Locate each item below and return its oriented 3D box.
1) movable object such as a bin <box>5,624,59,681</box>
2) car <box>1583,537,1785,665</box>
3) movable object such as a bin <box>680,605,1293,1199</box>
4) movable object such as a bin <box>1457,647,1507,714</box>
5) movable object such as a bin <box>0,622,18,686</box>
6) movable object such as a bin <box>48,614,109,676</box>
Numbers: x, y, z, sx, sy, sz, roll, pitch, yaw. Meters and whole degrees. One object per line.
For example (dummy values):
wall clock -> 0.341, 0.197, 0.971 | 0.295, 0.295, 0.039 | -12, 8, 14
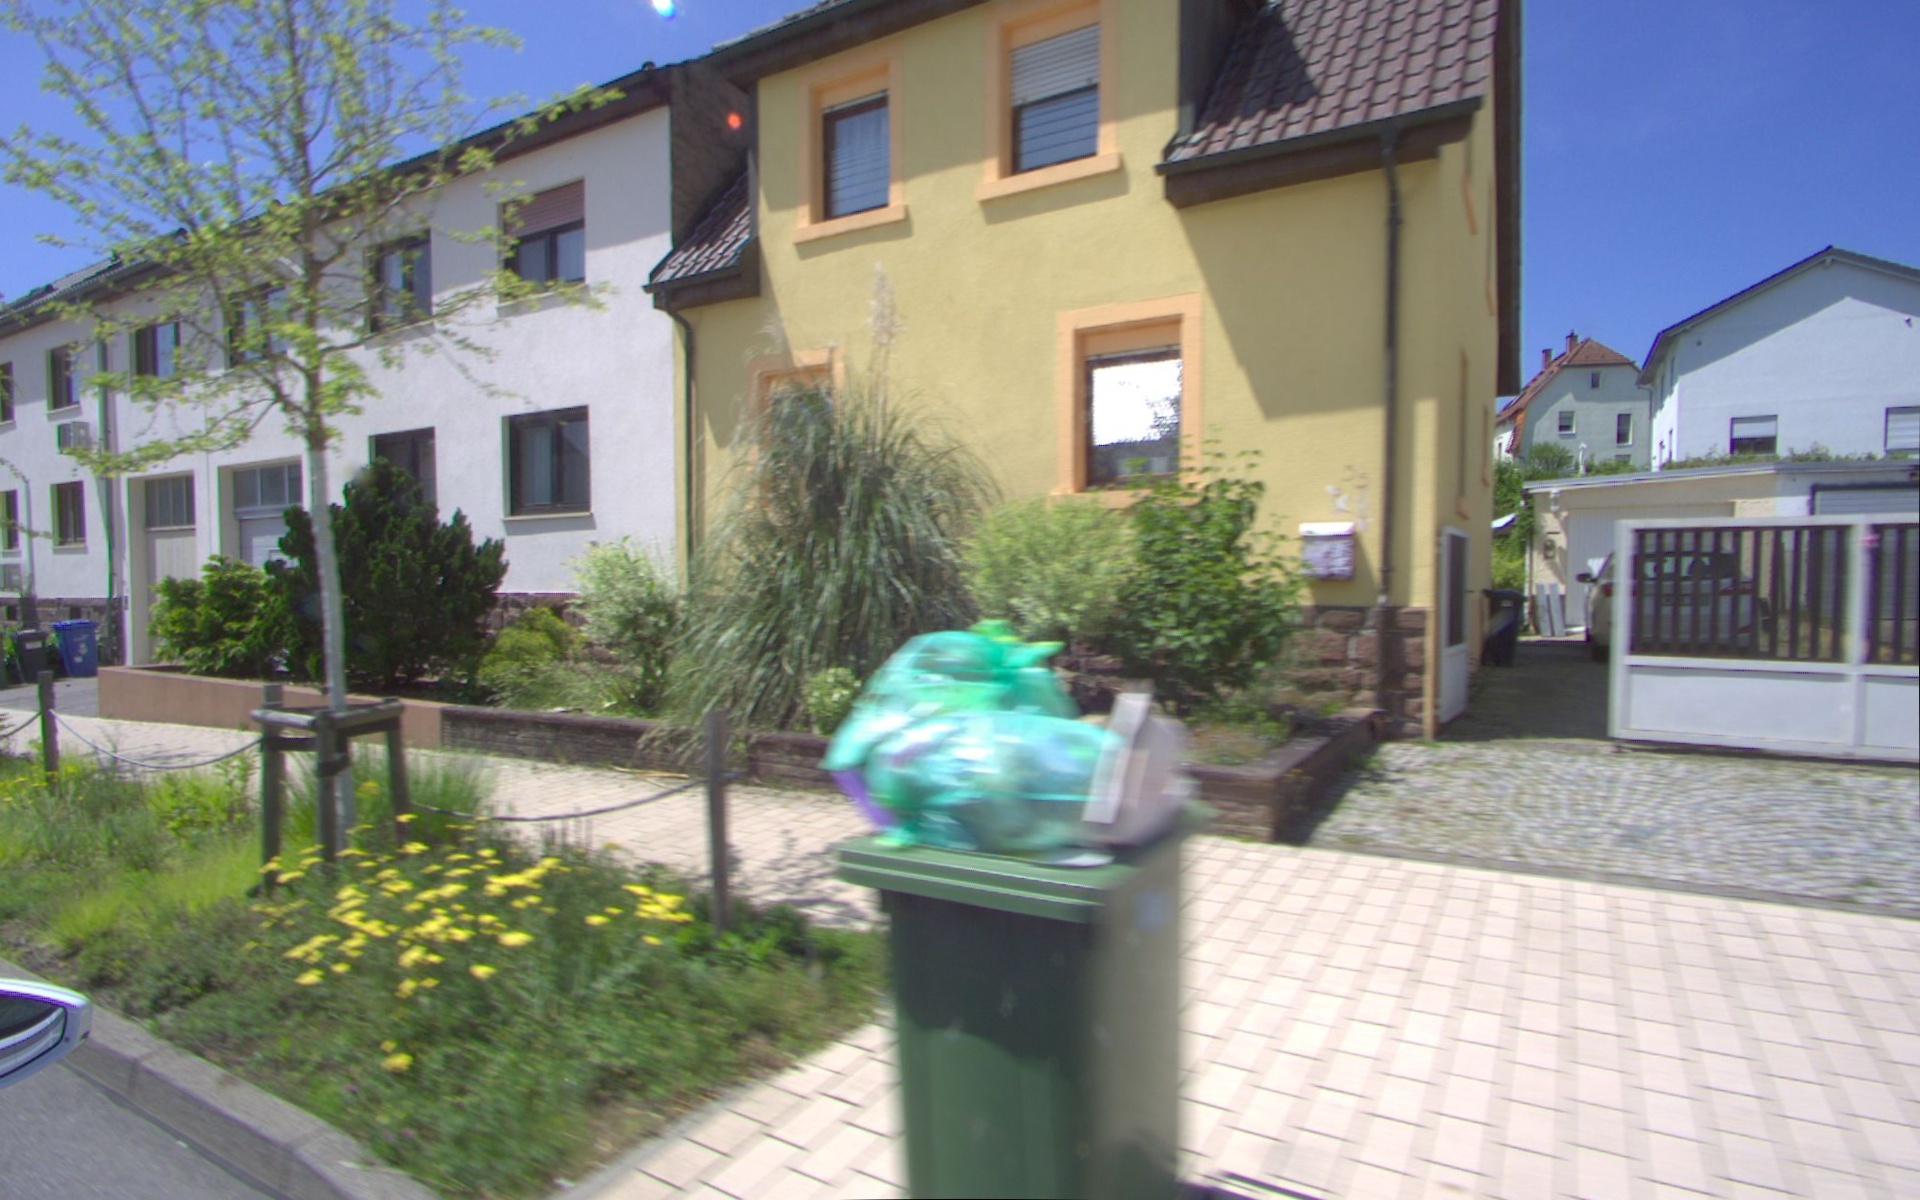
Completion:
movable object such as a bin -> -17.431, 0.977, 18.807 | 0.793, 1.000, 0.555 | -1, 5, 39
car -> 9.691, 0.004, 13.716 | 1.891, 1.459, 4.140 | -1, 0, 31
movable object such as a bin -> 0.102, 0.745, 1.983 | 0.911, 1.415, 0.790 | -1, 3, 29
movable object such as a bin -> 4.780, 0.724, 9.164 | 0.370, 0.579, 0.453 | 0, -1, 32
movable object such as a bin -> -17.686, 0.999, 18.152 | 0.802, 1.130, 0.681 | -1, 4, 37
movable object such as a bin -> -17.039, 0.857, 19.359 | 0.852, 1.122, 0.682 | -1, 4, 38
